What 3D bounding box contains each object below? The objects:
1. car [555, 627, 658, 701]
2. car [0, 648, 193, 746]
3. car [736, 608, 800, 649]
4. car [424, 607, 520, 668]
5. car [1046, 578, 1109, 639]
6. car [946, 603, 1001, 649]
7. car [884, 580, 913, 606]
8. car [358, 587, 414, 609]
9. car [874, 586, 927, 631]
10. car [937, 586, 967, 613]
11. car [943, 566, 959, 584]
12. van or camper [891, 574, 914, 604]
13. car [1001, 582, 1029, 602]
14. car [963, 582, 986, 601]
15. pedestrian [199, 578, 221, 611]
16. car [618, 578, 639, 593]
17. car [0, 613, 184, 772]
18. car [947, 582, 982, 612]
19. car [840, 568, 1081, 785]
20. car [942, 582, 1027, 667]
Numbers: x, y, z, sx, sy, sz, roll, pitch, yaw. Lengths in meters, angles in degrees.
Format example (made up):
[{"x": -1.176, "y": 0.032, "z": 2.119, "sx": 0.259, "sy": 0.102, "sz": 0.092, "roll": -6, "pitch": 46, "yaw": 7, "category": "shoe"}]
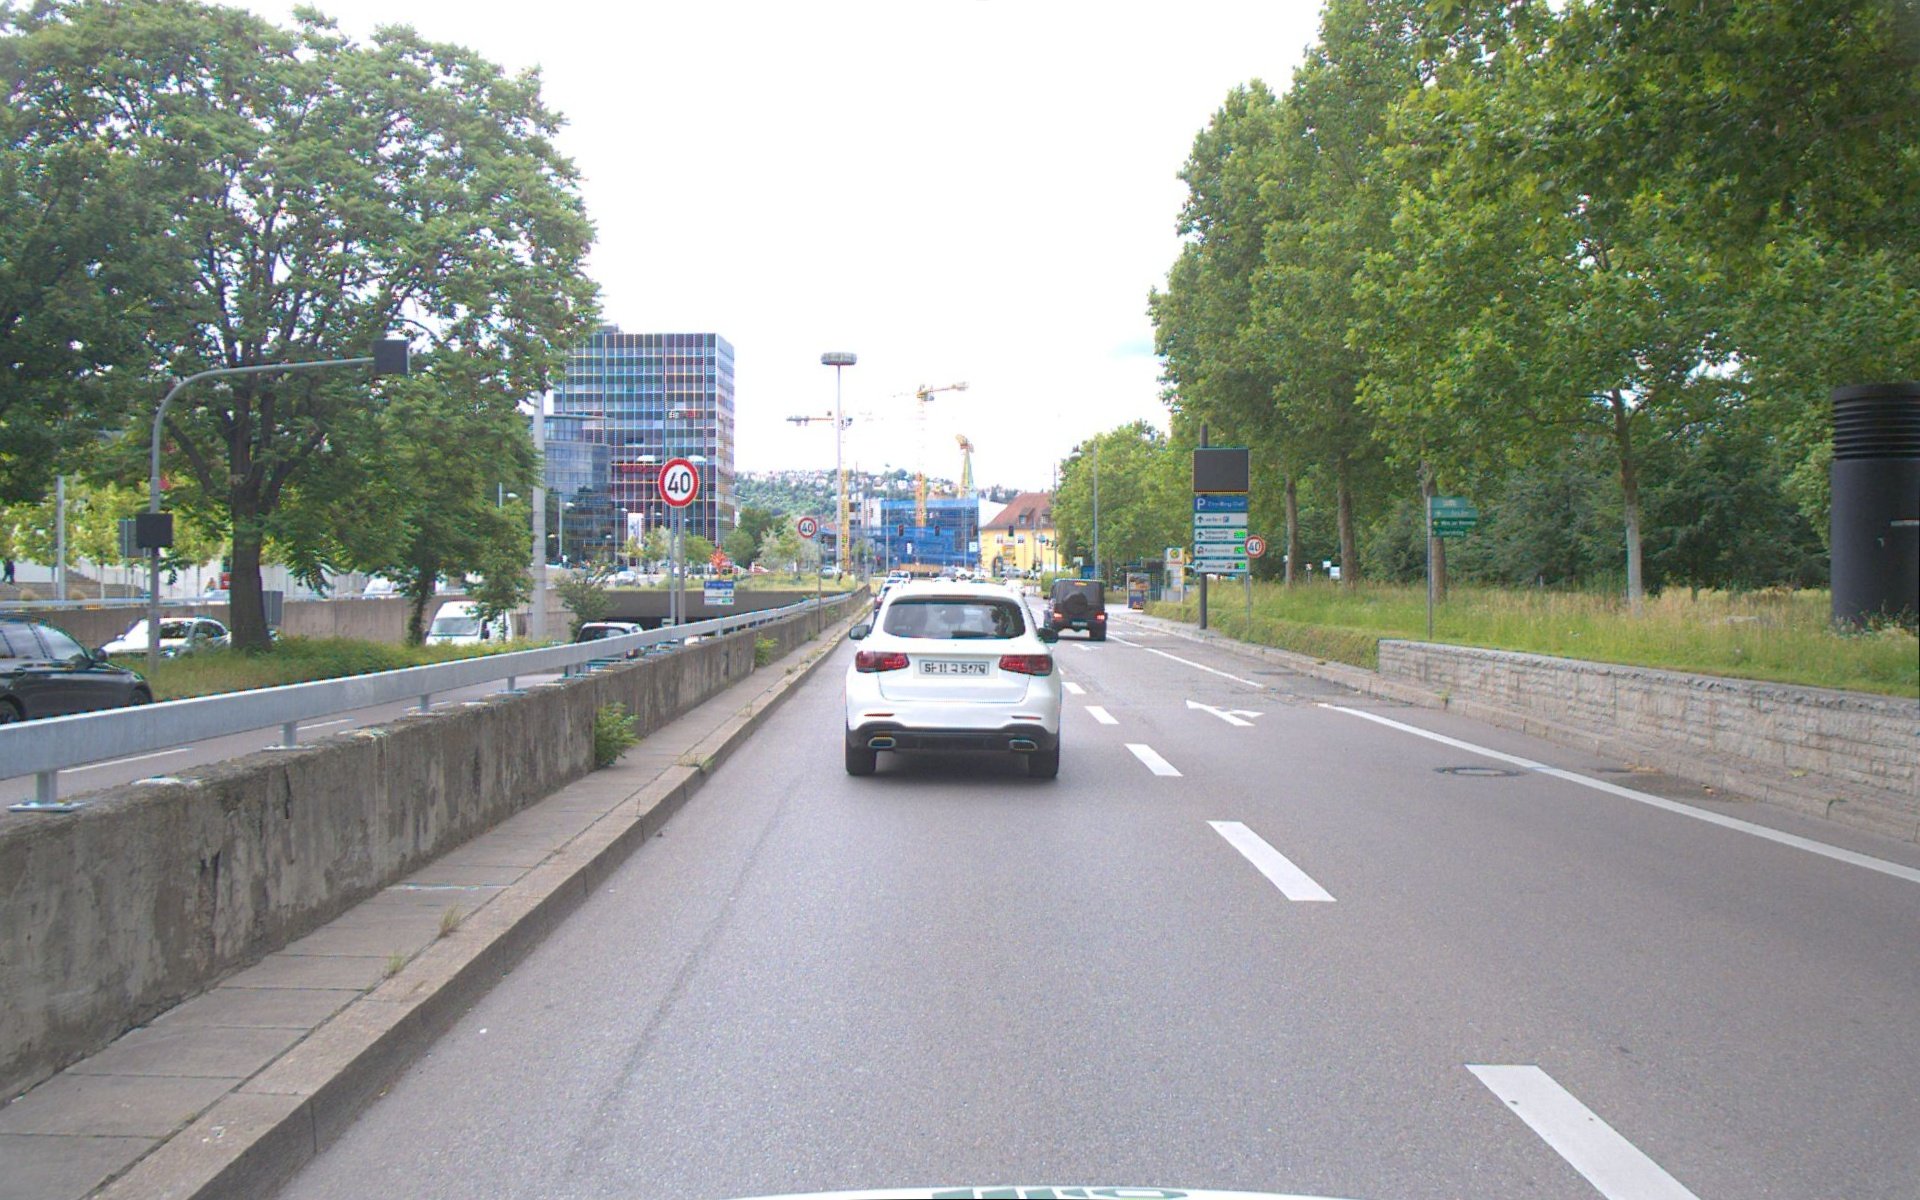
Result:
[{"x": -7.877, "y": 1.403, "z": 37.117, "sx": 1.594, "sy": 1.535, "sz": 3.538, "roll": 1, "pitch": -1, "yaw": -2, "category": "car"}, {"x": -17.790, "y": 1.935, "z": 34.250, "sx": 1.819, "sy": 1.747, "sz": 4.444, "roll": -1, "pitch": 0, "yaw": -2, "category": "car"}, {"x": -6.746, "y": 0.976, "z": 58.354, "sx": 1.684, "sy": 1.315, "sz": 4.000, "roll": 2, "pitch": 0, "yaw": 1, "category": "car"}, {"x": -18.636, "y": 1.417, "z": 63.440, "sx": 1.935, "sy": 2.203, "sz": 6.210, "roll": 1, "pitch": -1, "yaw": -2, "category": "car"}, {"x": 3.927, "y": 0.318, "z": 56.078, "sx": 1.936, "sy": 1.926, "sz": 4.708, "roll": 2, "pitch": -1, "yaw": 2, "category": "car"}, {"x": 0.493, "y": 0.964, "z": 63.099, "sx": 1.884, "sy": 1.630, "sz": 3.998, "roll": 1, "pitch": 0, "yaw": -2, "category": "car"}, {"x": -4.549, "y": -0.476, "z": 121.959, "sx": 1.953, "sy": 1.787, "sz": 3.999, "roll": 2, "pitch": -1, "yaw": 0, "category": "car"}, {"x": -33.667, "y": -0.091, "z": 97.161, "sx": 1.773, "sy": 1.138, "sz": 4.805, "roll": 2, "pitch": -1, "yaw": -3, "category": "car"}, {"x": -2.239, "y": 0.300, "z": 61.926, "sx": 1.884, "sy": 1.630, "sz": 3.998, "roll": 1, "pitch": 0, "yaw": -2, "category": "car"}, {"x": -0.568, "y": -0.002, "z": 117.251, "sx": 1.953, "sy": 1.812, "sz": 3.998, "roll": 2, "pitch": -1, "yaw": -2, "category": "car"}, {"x": -1.156, "y": -3.204, "z": 213.086, "sx": 1.764, "sy": 2.049, "sz": 3.998, "roll": 2, "pitch": -1, "yaw": -2, "category": "car"}, {"x": -4.904, "y": -0.902, "z": 140.092, "sx": 1.884, "sy": 2.360, "sz": 3.998, "roll": 1, "pitch": -2, "yaw": -2, "category": "van or camper"}, {"x": 4.924, "y": -0.701, "z": 147.955, "sx": 1.955, "sy": 1.646, "sz": 3.994, "roll": 2, "pitch": -1, "yaw": -6, "category": "car"}, {"x": 1.281, "y": -0.778, "z": 147.965, "sx": 1.685, "sy": 1.612, "sz": 3.997, "roll": 2, "pitch": 0, "yaw": -3, "category": "car"}, {"x": -38.507, "y": -0.293, "z": 84.933, "sx": 0.720, "sy": 1.669, "sz": 1.004, "roll": 0, "pitch": 0, "yaw": -2, "category": "pedestrian"}, {"x": -33.339, "y": -1.483, "z": 166.391, "sx": 1.797, "sy": 1.384, "sz": 3.862, "roll": 2, "pitch": -1, "yaw": -7, "category": "car"}, {"x": -10.051, "y": 0.893, "z": 17.158, "sx": 1.775, "sy": 1.486, "sz": 4.861, "roll": 2, "pitch": -1, "yaw": -2, "category": "car"}, {"x": 0.256, "y": -0.160, "z": 100.797, "sx": 1.953, "sy": 1.691, "sz": 3.998, "roll": 2, "pitch": -1, "yaw": -2, "category": "car"}, {"x": -0.075, "y": 0.642, "z": 15.251, "sx": 1.902, "sy": 1.713, "sz": 3.998, "roll": 1, "pitch": -1, "yaw": -2, "category": "car"}, {"x": 0.476, "y": 0.517, "z": 35.349, "sx": 1.638, "sy": 1.656, "sz": 3.999, "roll": 2, "pitch": -1, "yaw": -1, "category": "car"}]
